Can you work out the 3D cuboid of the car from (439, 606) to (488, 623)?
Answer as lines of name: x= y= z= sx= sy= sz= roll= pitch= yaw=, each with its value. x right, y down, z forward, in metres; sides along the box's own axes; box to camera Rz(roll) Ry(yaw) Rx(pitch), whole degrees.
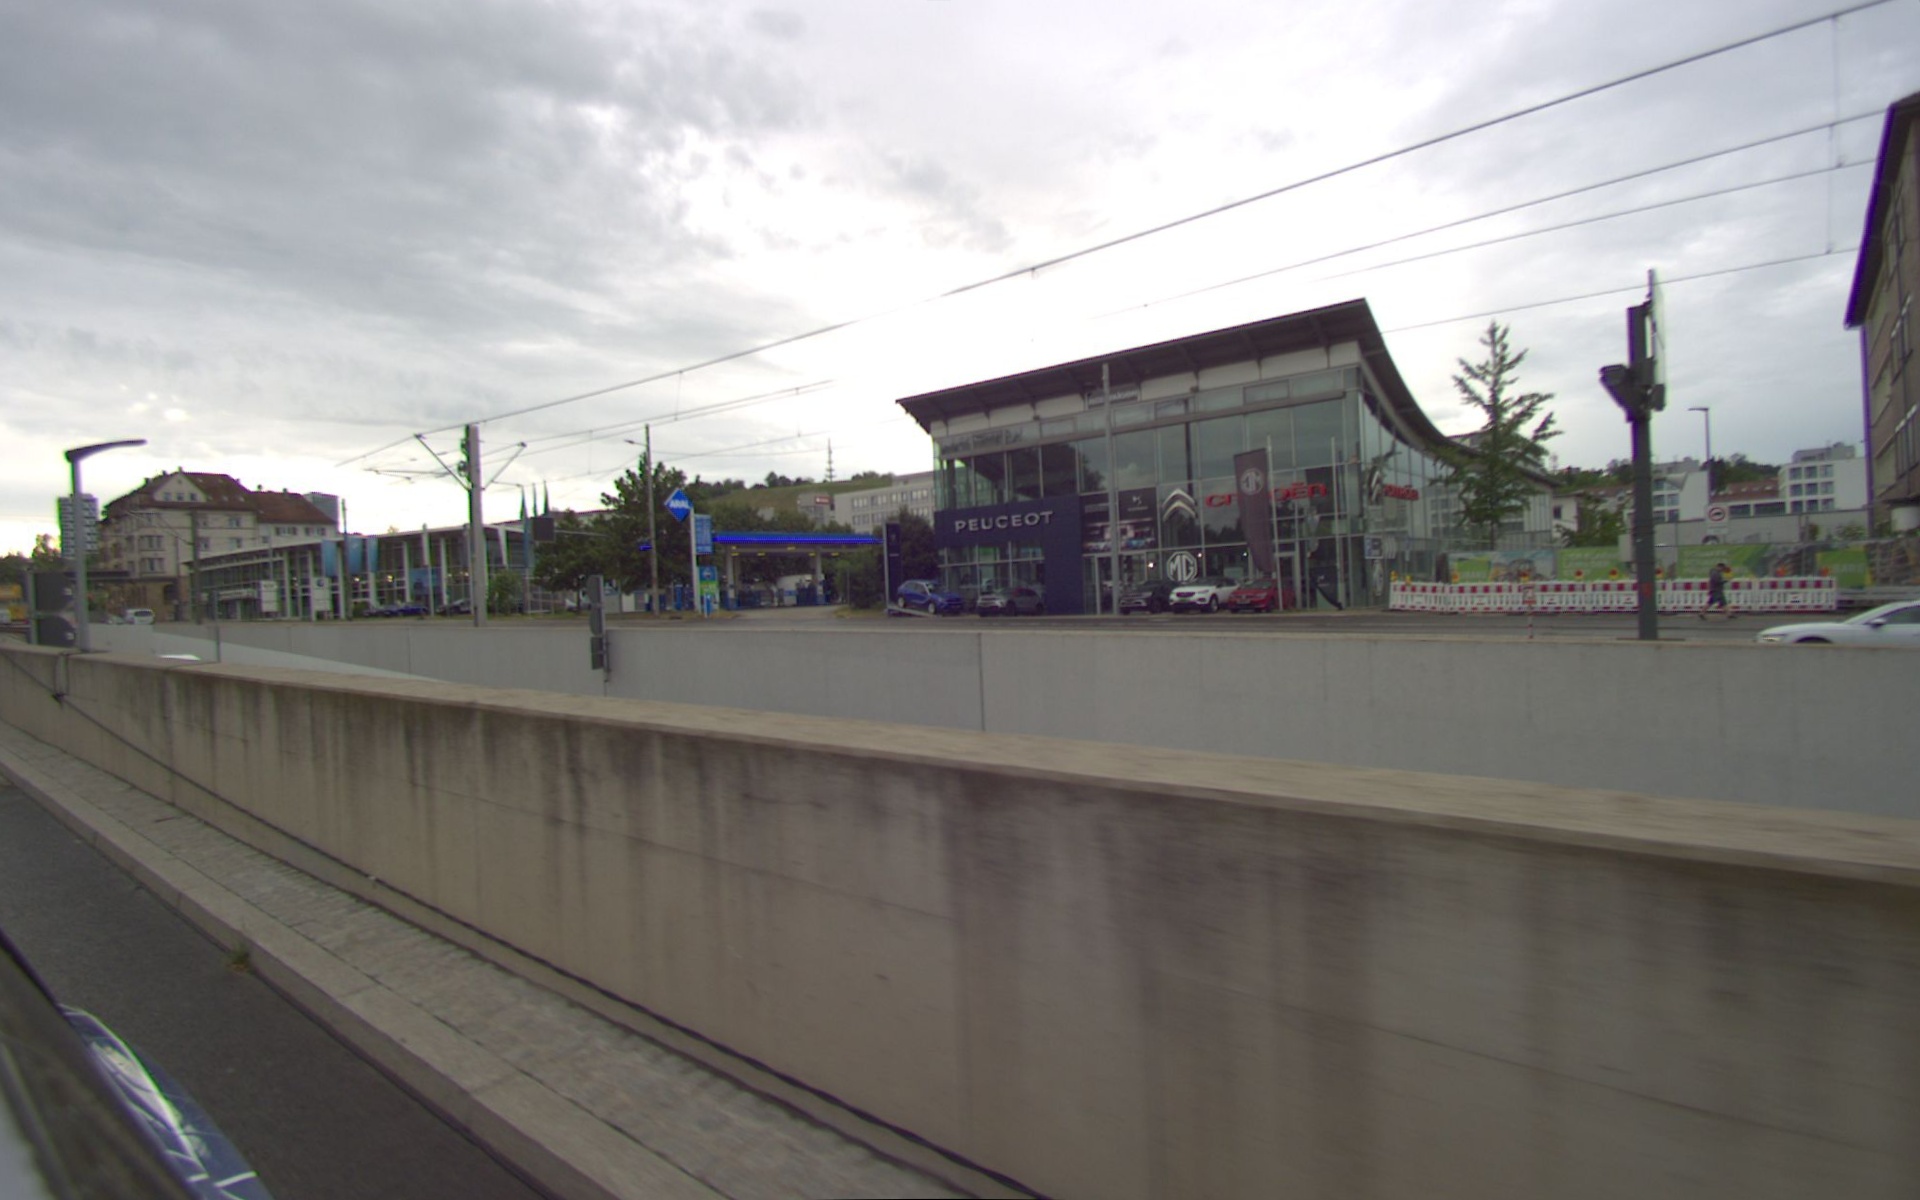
car: x=-43.594 y=1.277 z=88.836 sx=1.717 sy=1.284 sz=3.476 roll=-1 pitch=1 yaw=45

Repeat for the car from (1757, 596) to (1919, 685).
car: x=17.745 y=0.711 z=18.488 sx=4.943 sy=1.527 sz=1.891 roll=-2 pitch=0 yaw=38

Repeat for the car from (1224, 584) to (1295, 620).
car: x=12.219 y=0.066 z=41.143 sx=1.616 sy=1.392 sz=3.447 roll=-2 pitch=-1 yaw=37

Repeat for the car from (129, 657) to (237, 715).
car: x=-25.309 y=2.742 z=32.918 sx=4.317 sy=1.585 sz=1.956 roll=-2 pitch=0 yaw=41

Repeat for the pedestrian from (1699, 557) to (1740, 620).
pedestrian: x=21.529 y=-0.325 z=28.687 sx=0.839 sy=1.763 sz=0.609 roll=-2 pitch=0 yaw=41

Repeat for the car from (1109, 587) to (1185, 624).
car: x=8.171 y=0.220 z=44.084 sx=1.749 sy=1.485 sz=3.444 roll=-2 pitch=0 yaw=41

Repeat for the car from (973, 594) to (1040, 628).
car: x=2.275 y=0.569 z=48.822 sx=1.572 sy=1.413 sz=3.469 roll=-3 pitch=-6 yaw=37

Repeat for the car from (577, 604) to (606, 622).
car: x=-35.603 y=1.244 z=97.718 sx=2.798 sy=1.584 sz=1.368 roll=-2 pitch=1 yaw=39

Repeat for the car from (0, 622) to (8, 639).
car: x=-158.542 y=5.063 z=166.495 sx=6.161 sy=2.618 sz=2.030 roll=-2 pitch=1 yaw=40

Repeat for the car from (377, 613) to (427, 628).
car: x=-53.033 y=1.901 z=96.269 sx=1.747 sy=1.244 sz=3.974 roll=-1 pitch=1 yaw=20

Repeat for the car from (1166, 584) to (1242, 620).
car: x=10.278 y=0.055 z=42.515 sx=1.749 sy=1.407 sz=3.444 roll=-2 pitch=0 yaw=41

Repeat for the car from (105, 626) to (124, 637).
car: x=-106.929 y=4.001 z=127.941 sx=2.799 sy=1.309 sz=1.368 roll=-2 pitch=1 yaw=40

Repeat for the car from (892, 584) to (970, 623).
car: x=-1.516 y=0.138 z=51.534 sx=1.740 sy=1.621 sz=4.073 roll=-2 pitch=6 yaw=-42

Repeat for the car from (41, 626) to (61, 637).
car: x=-136.353 y=4.682 z=151.769 sx=4.337 sy=1.527 sz=1.724 roll=-1 pitch=0 yaw=41

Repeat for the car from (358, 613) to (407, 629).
car: x=-55.516 y=1.986 z=97.345 sx=1.690 sy=1.244 sz=3.974 roll=-4 pitch=0 yaw=20

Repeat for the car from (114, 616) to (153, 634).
car: x=-81.087 y=2.453 z=99.279 sx=5.031 sy=1.708 sz=1.980 roll=-2 pitch=1 yaw=40
